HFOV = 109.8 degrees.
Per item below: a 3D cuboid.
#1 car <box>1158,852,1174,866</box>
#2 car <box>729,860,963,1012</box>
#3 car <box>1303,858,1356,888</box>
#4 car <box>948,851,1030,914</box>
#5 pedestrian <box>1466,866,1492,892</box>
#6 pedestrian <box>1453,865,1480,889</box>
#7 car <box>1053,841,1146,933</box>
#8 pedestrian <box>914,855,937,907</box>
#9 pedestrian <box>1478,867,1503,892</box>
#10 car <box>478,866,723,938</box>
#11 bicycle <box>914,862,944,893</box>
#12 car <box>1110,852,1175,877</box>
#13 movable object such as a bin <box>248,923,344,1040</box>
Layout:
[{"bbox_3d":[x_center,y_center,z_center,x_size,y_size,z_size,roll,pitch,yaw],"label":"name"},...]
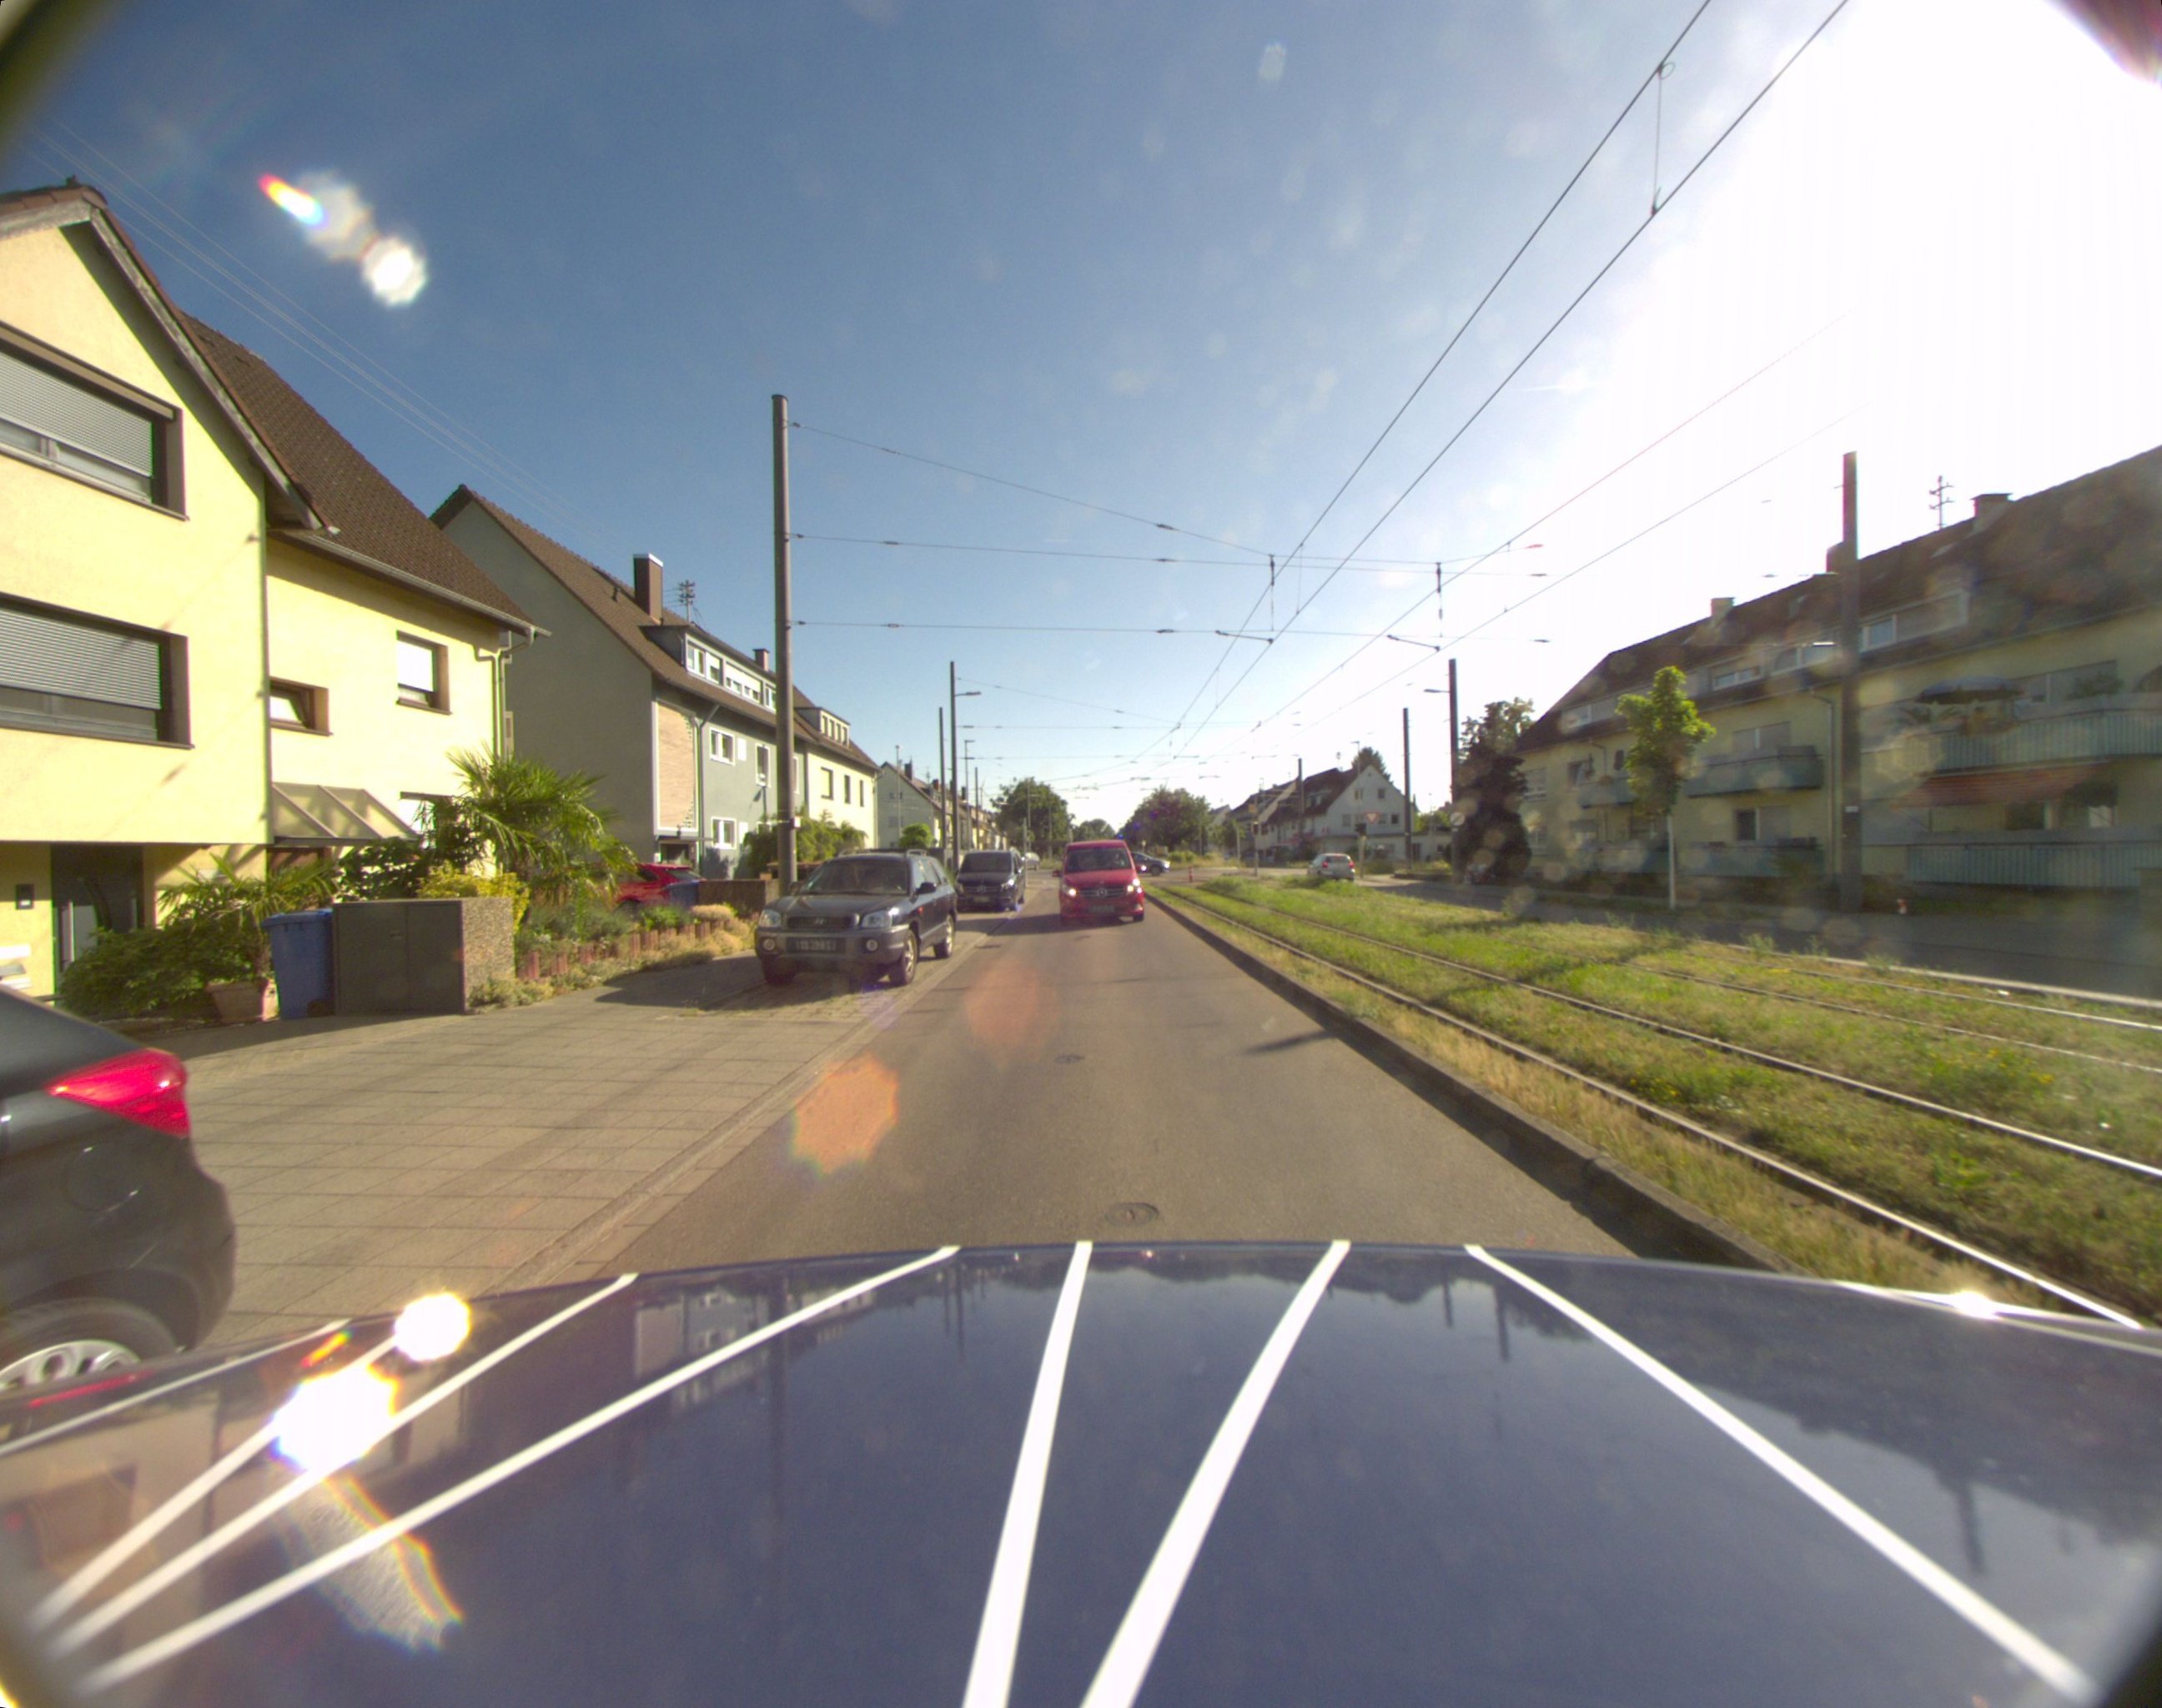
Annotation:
[{"bbox_3d":[13.531,0.760,121.164,1.895,2.003,4.369,0,2,-1],"label":"car"},{"bbox_3d":[-2.980,0.934,10.739,1.859,1.649,4.473,0,0,1],"label":"car"},{"bbox_3d":[12.244,0.913,37.643,1.553,1.403,3.659,0,0,2],"label":"car"},{"bbox_3d":[-2.844,0.818,24.511,1.966,1.825,4.927,0,0,1],"label":"car"},{"bbox_3d":[17.065,1.067,32.574,0.821,1.059,0.625,-2,3,-32],"label":"pedestrian"},{"bbox_3d":[16.963,1.013,33.431,0.819,1.040,0.687,-1,1,-2],"label":"pedestrian"},{"bbox_3d":[0.314,0.703,19.165,1.999,1.970,5.236,-1,0,-2],"label":"car"},{"bbox_3d":[-5.135,0.886,25.190,0.584,1.713,0.714,0,1,2],"label":"pedestrian"},{"bbox_3d":[17.178,1.069,31.863,0.725,1.000,0.594,-1,2,-23],"label":"pedestrian"},{"bbox_3d":[-10.401,1.012,16.689,4.175,1.459,1.900,0,0,0],"label":"car"},{"bbox_3d":[-5.109,0.771,25.606,0.602,0.974,1.562,1,1,3],"label":"bicycle"},{"bbox_3d":[4.020,0.663,49.547,3.993,1.570,1.832,-1,0,11],"label":"car"},{"bbox_3d":[-7.622,1.228,7.383,0.559,1.056,0.205,-5,3,-5],"label":"movable object such as a bin"}]
